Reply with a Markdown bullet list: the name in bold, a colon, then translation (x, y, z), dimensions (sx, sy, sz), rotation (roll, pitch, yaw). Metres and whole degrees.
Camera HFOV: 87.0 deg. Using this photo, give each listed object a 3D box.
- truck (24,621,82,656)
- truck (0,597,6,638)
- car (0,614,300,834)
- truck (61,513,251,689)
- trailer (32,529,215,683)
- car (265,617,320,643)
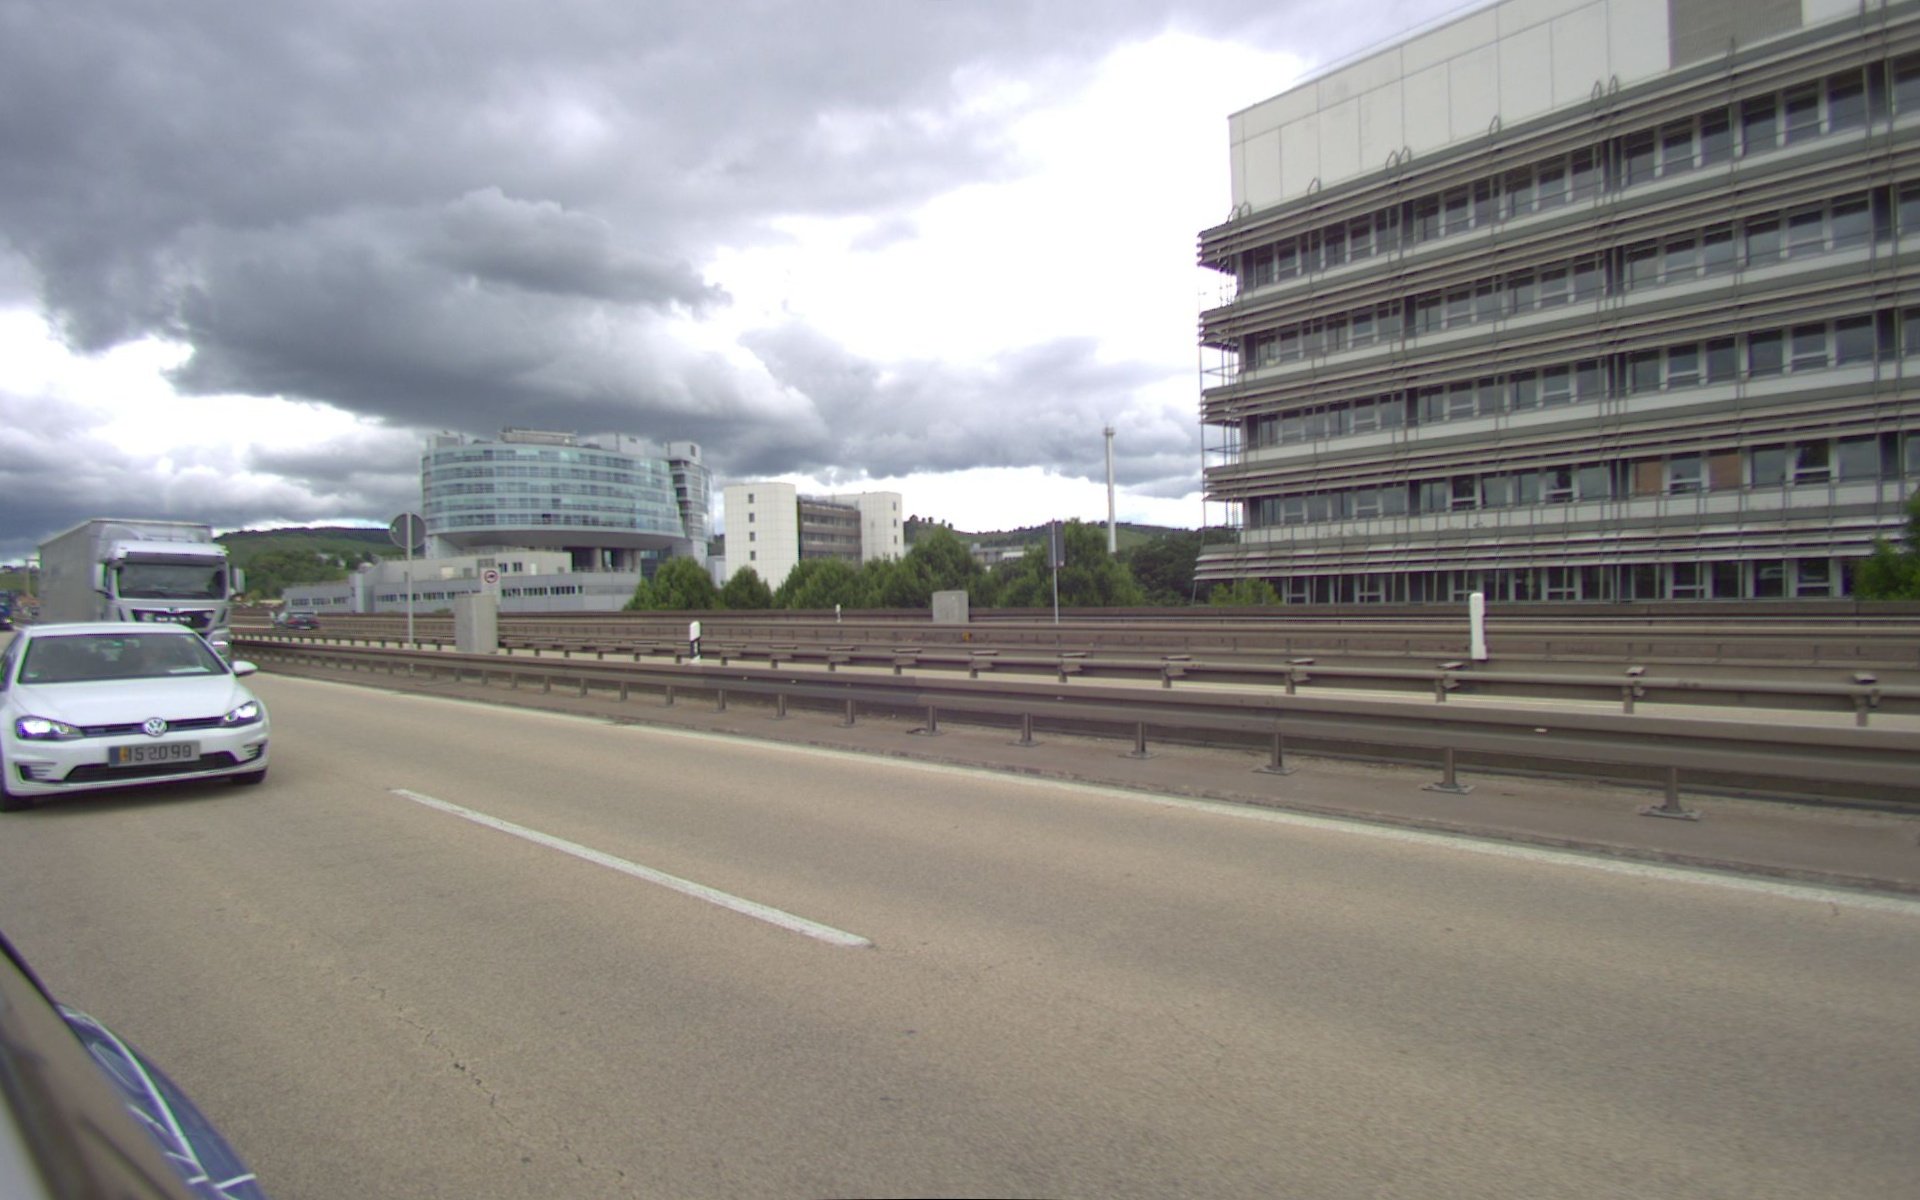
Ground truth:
- **truck**: translation (-43.409, 1.802, 48.428), dimensions (3.514, 1.541, 1.805), rotation (-1, 0, 44)
- **truck**: translation (-80.499, 1.445, 83.559), dimensions (6.688, 3.262, 2.305), rotation (-1, 0, 44)
- **car**: translation (-7.638, 0.903, 9.175), dimensions (4.062, 1.519, 1.904), rotation (-1, 0, 44)
- **truck**: translation (-21.109, 0.000, 26.479), dimensions (5.690, 4.067, 3.099), rotation (-1, 1, 44)
- **trailer**: translation (-26.751, 0.180, 32.039), dimensions (11.769, 4.056, 3.146), rotation (-1, 1, 44)
- **car**: translation (-38.975, 1.704, 59.025), dimensions (4.231, 1.387, 1.767), rotation (-1, 1, 44)
